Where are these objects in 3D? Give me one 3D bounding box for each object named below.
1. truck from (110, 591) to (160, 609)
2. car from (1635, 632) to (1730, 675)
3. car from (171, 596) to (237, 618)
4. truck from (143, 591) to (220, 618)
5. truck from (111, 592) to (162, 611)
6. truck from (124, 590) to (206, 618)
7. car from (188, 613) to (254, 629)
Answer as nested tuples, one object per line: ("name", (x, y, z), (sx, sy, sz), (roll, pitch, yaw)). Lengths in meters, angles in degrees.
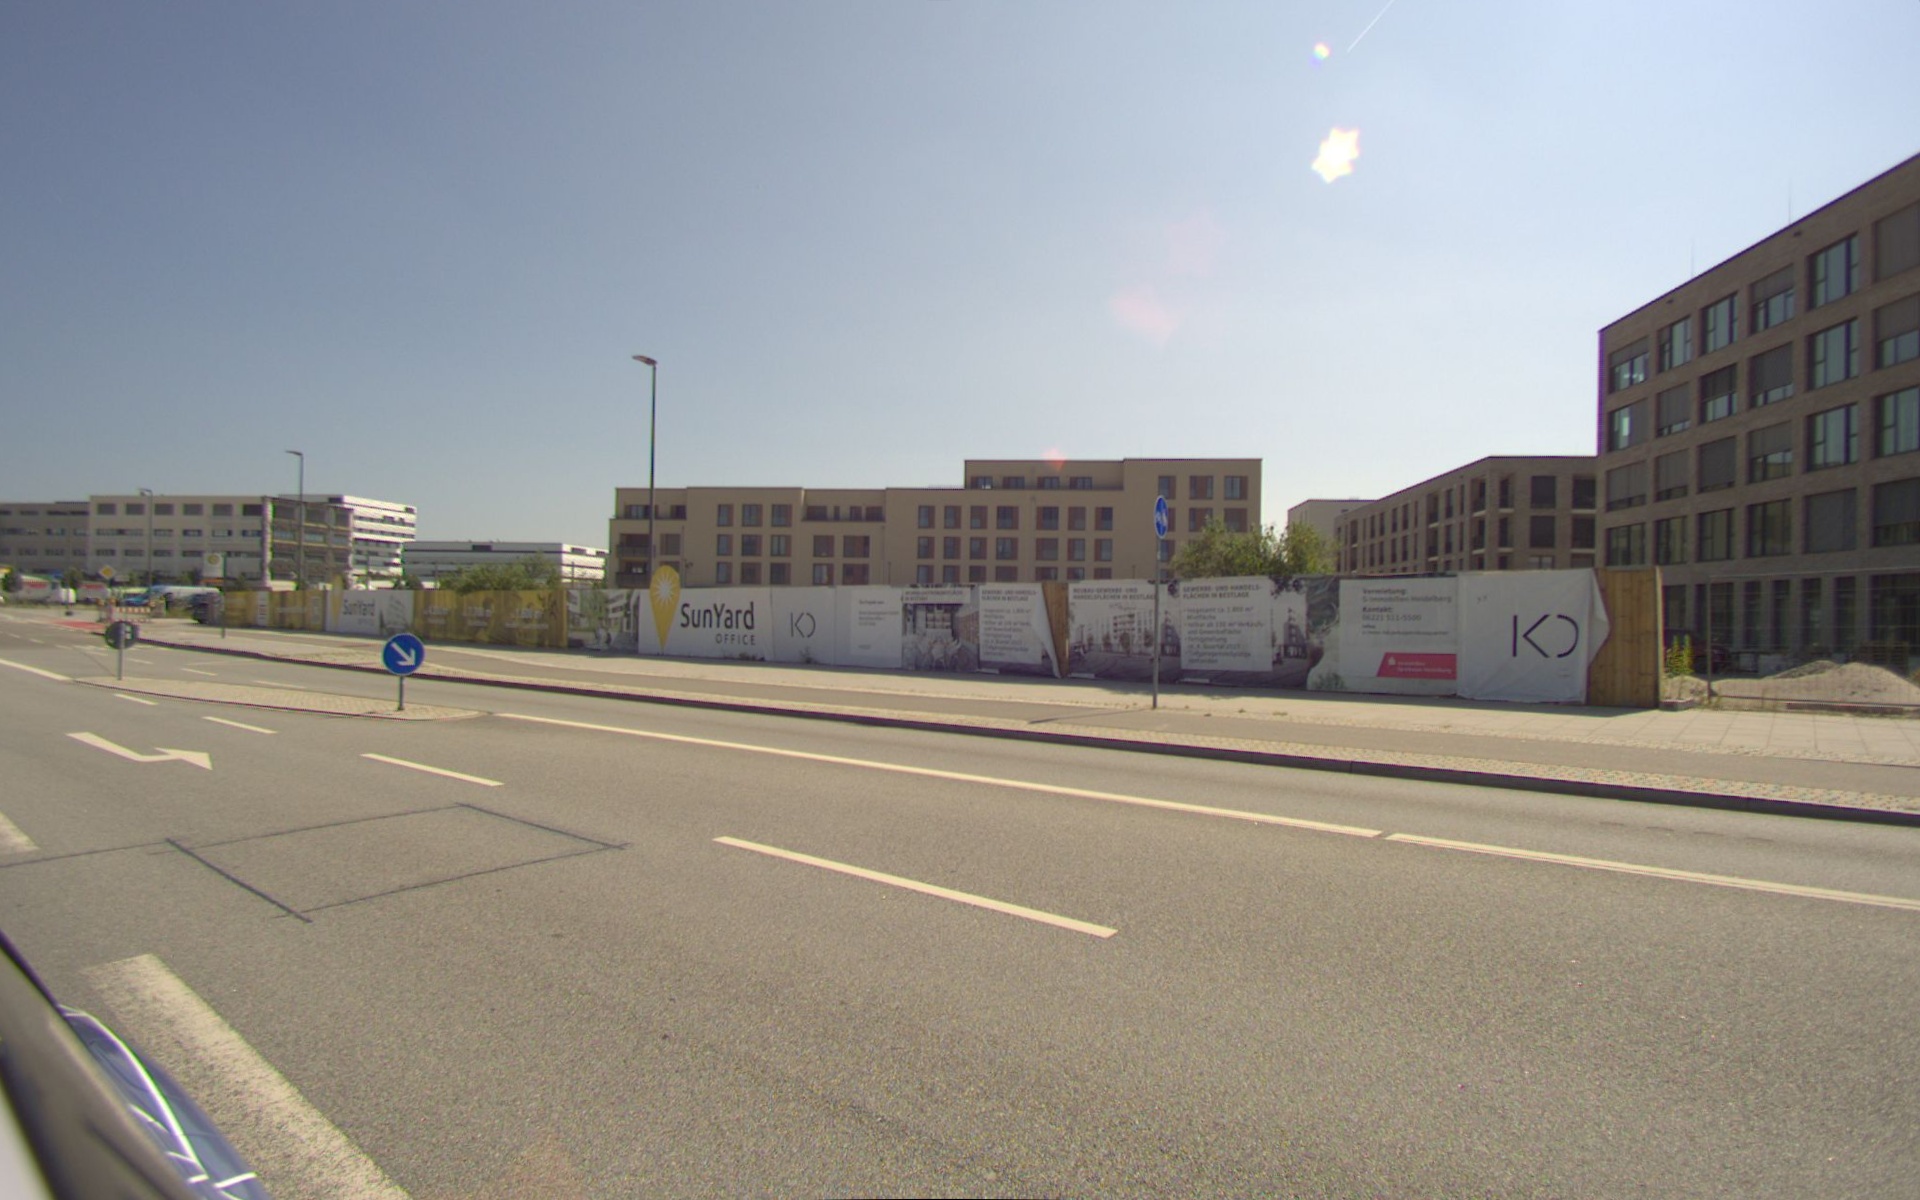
("truck", (-120.164, -0.008, 147.520), (1.998, 2.494, 5.346), (0, 1, 38))
("car", (32.015, 2.343, 44.994), (1.814, 1.666, 3.772), (0, 1, 7))
("car", (-60.295, 0.543, 80.760), (1.888, 1.731, 3.885), (0, 1, 35))
("truck", (-67.143, 0.360, 87.328), (1.998, 2.245, 4.942), (0, 1, 39))
("truck", (-115.084, 0.205, 141.457), (1.996, 2.494, 5.270), (0, 1, 36))
("truck", (-72.455, 0.320, 92.332), (1.996, 2.494, 5.567), (0, 1, 36))
("car", (-48.375, 1.353, 66.306), (1.293, 0.960, 3.315), (0, 1, 43))
